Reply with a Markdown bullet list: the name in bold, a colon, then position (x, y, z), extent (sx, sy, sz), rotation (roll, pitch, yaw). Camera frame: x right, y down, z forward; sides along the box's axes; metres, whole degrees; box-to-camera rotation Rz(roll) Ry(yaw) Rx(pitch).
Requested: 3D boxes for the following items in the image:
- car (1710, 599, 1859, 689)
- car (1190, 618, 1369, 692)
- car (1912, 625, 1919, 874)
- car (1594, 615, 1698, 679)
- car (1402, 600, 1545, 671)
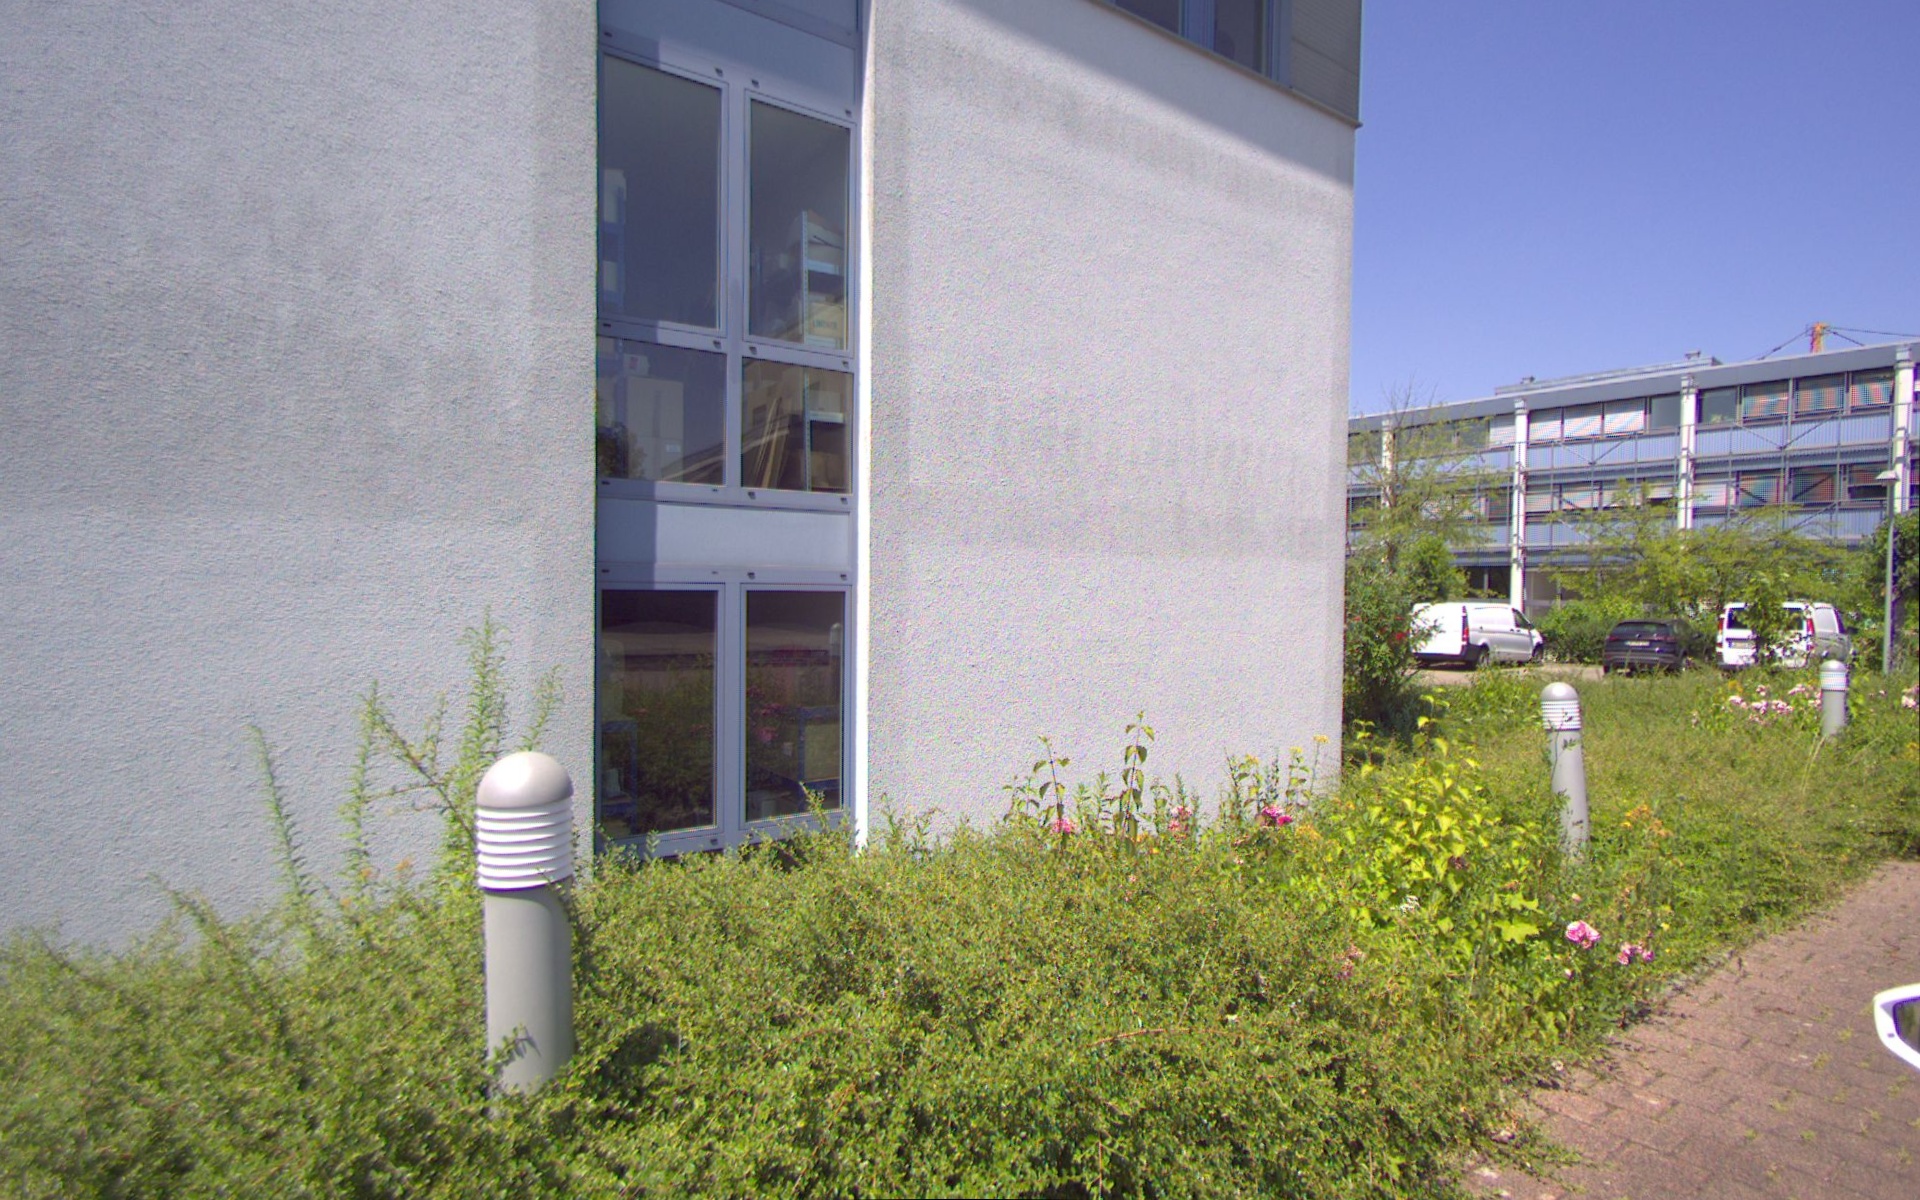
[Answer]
- **car**: position (19.581, 0.955, 23.783), extent (4.768, 1.930, 1.897), rotation (0, 0, -40)
- **car**: position (7.437, 1.195, 23.186), extent (4.445, 1.492, 1.842), rotation (0, 0, -39)
- **car**: position (7.831, 0.914, 6.491), extent (4.107, 1.476, 1.717), rotation (1, -1, -36)
- **car**: position (18.057, 1.164, 26.376), extent (1.735, 1.496, 3.978), rotation (0, 0, 42)
- **car**: position (15.093, 0.975, 29.420), extent (4.759, 1.916, 1.868), rotation (0, 0, -37)
